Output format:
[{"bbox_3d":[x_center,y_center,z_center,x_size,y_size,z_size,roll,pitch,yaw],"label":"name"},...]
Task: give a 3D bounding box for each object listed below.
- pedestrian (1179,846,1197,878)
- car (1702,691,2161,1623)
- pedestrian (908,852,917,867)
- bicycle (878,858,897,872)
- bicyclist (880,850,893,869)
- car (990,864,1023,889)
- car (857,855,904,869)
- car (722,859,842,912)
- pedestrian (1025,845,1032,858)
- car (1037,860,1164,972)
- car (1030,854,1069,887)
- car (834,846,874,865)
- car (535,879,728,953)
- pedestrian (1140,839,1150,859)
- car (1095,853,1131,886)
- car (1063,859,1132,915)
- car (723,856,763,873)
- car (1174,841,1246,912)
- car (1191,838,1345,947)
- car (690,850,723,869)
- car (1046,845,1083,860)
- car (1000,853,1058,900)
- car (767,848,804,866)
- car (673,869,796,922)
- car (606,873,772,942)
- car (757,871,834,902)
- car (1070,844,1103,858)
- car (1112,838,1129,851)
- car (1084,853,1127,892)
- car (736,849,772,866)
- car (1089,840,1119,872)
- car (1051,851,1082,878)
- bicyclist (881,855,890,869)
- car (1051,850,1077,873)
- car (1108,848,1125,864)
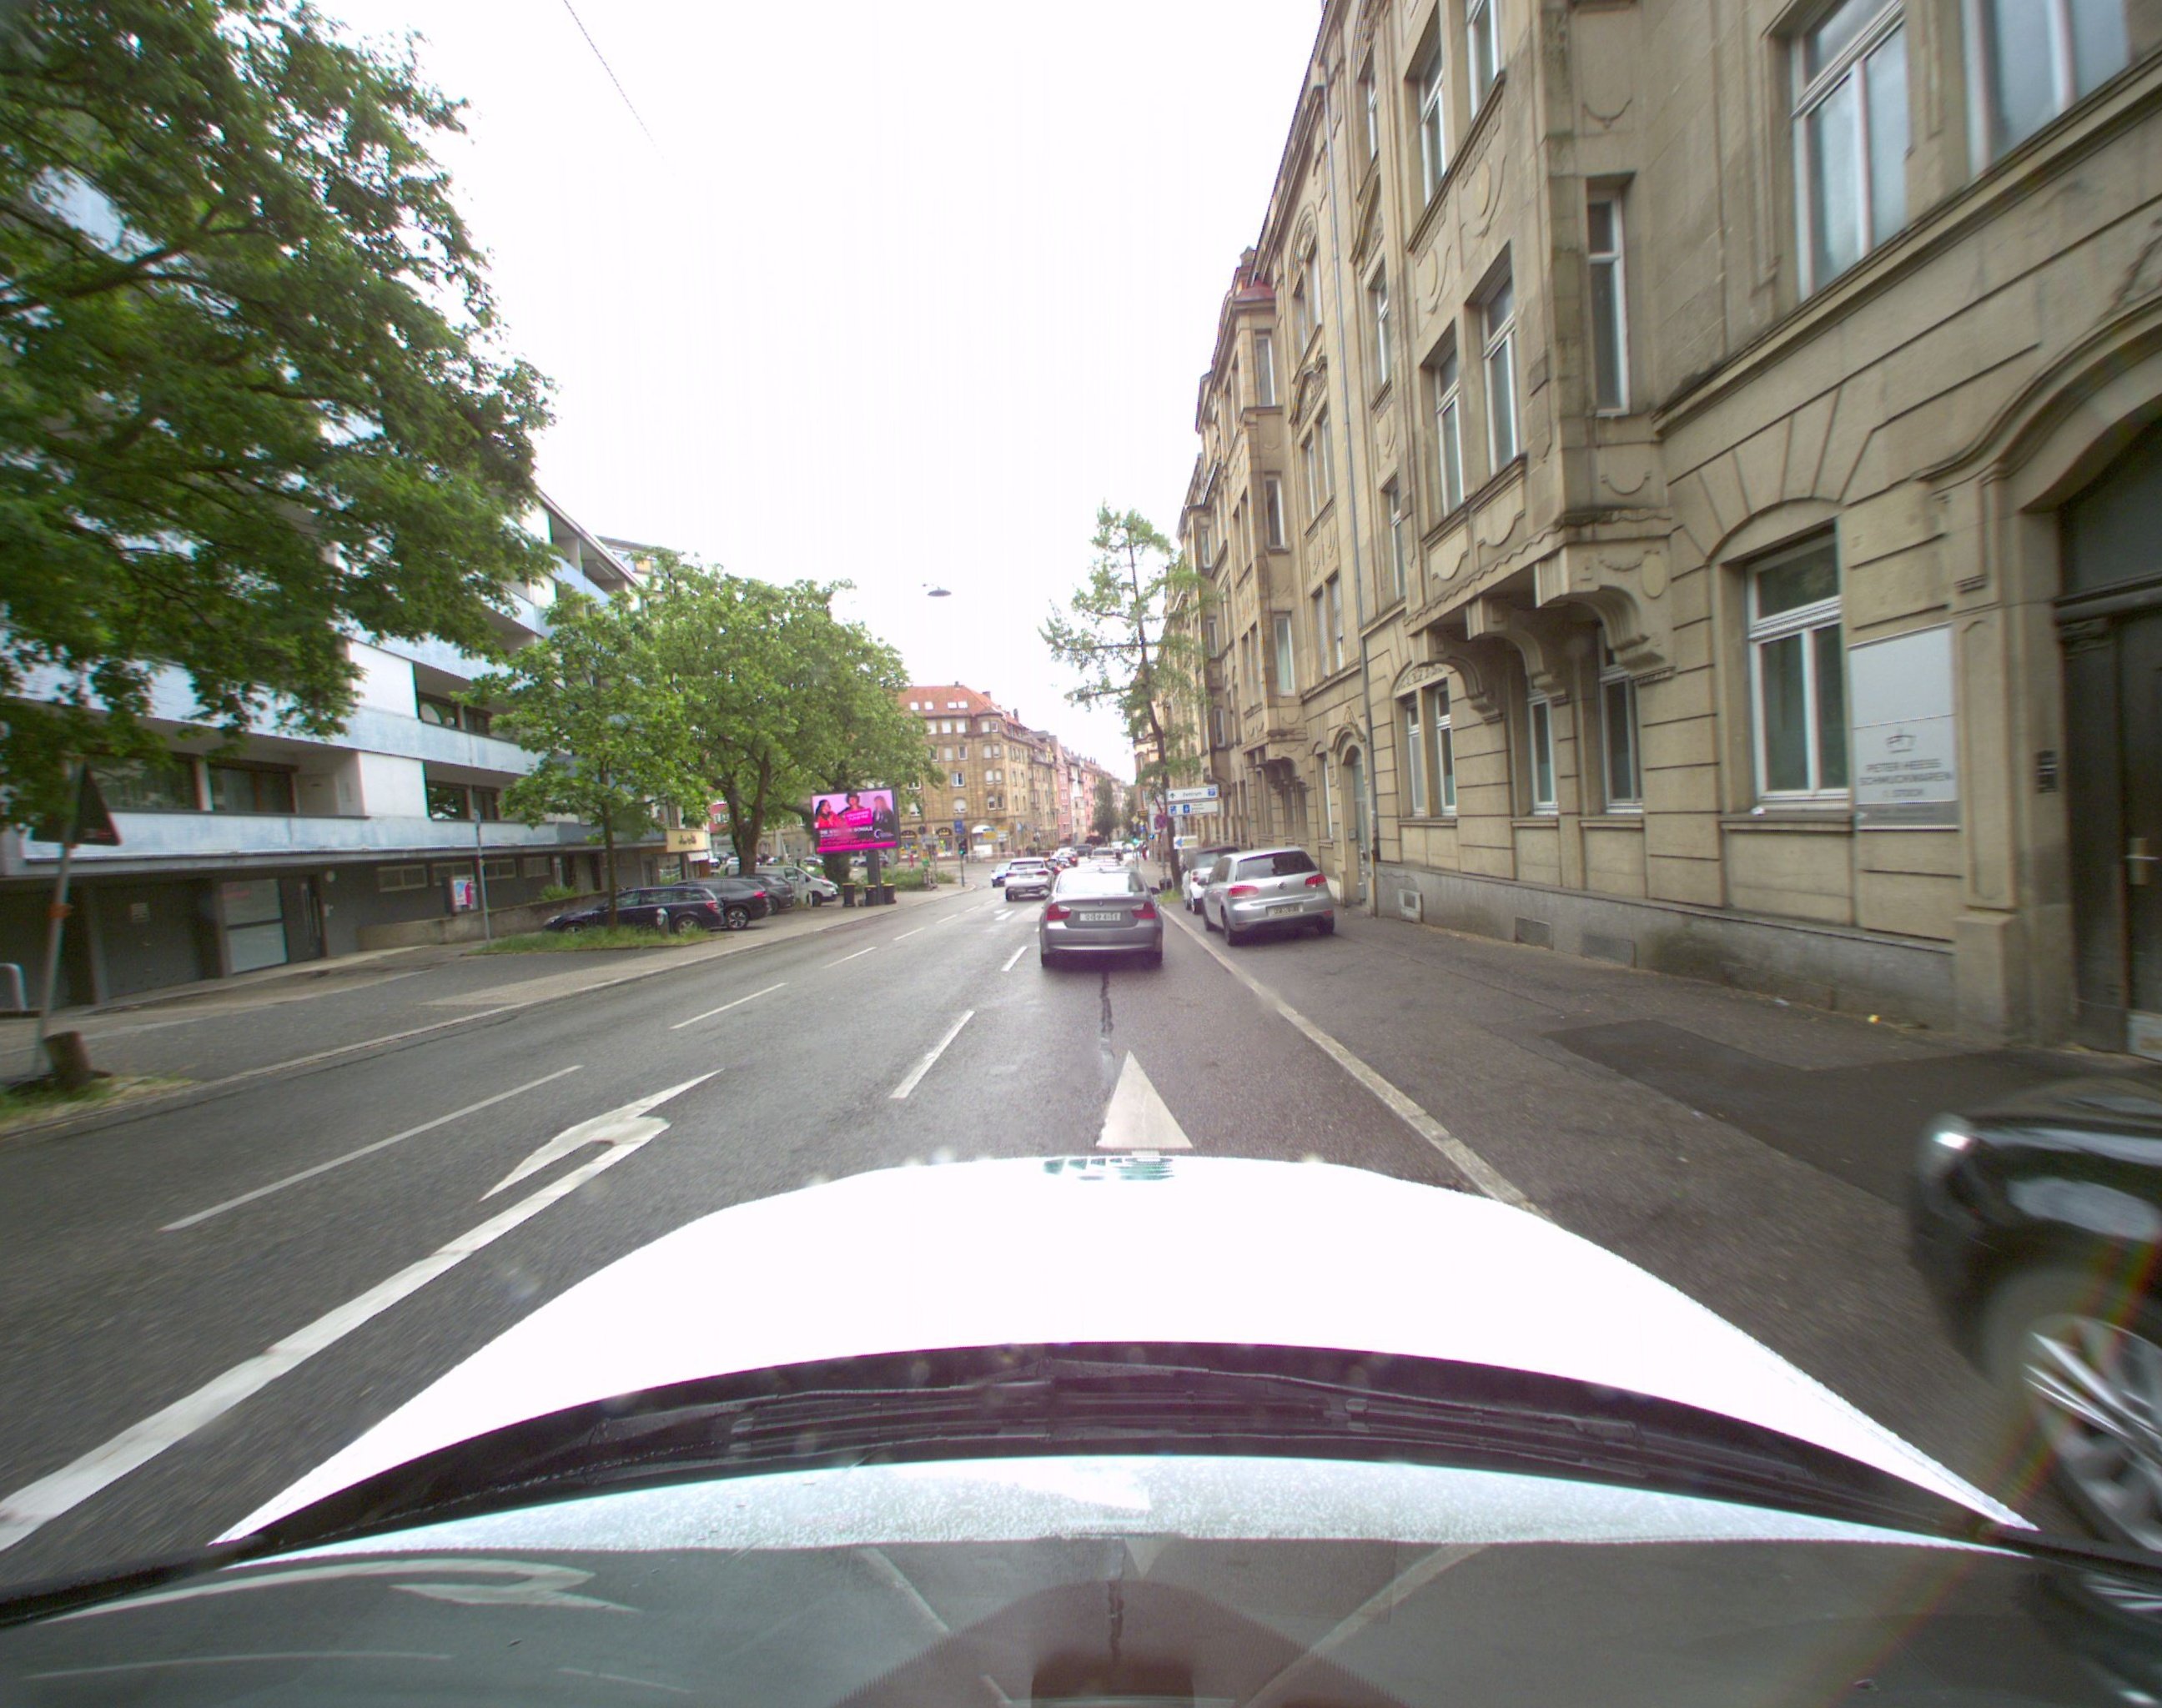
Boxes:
[{"bbox_3d":[5.306,0.405,40.502,0.629,1.508,0.693,-7,-1,1],"label":"pedestrian"},{"bbox_3d":[2.646,0.444,0.230,1.753,1.651,4.101,-8,0,2],"label":"car"},{"bbox_3d":[-17.776,0.561,85.863,0.531,1.577,0.724,-4,-1,26],"label":"pedestrian"},{"bbox_3d":[-18.853,1.067,79.391,0.666,1.320,2.286,-5,0,18],"label":"bicycle"},{"bbox_3d":[-18.934,0.545,79.161,0.776,1.821,0.774,-5,0,17],"label":"bicyclist"},{"bbox_3d":[-4.966,1.485,54.499,1.709,1.450,3.743,-3,0,1],"label":"car"},{"bbox_3d":[-22.375,0.899,90.857,4.619,1.578,2.002,-1,-1,3],"label":"car"},{"bbox_3d":[-13.924,1.448,38.145,5.076,2.105,1.979,-3,-1,-19],"label":"car"},{"bbox_3d":[-6.424,-0.276,99.273,0.727,1.577,0.530,-3,0,10],"label":"pedestrian"},{"bbox_3d":[0.352,0.822,12.497,1.617,1.383,3.618,-2,0,3],"label":"car"},{"bbox_3d":[-1.711,0.865,45.716,1.752,1.707,4.003,-2,0,3],"label":"car"},{"bbox_3d":[-26.639,0.200,95.487,4.237,2.101,2.013,0,2,30],"label":"car"},{"bbox_3d":[-12.300,1.641,22.665,4.373,1.574,1.929,-4,0,-21],"label":"car"},{"bbox_3d":[6.100,-0.482,77.752,0.740,1.910,0.659,-3,0,1],"label":"pedestrian"},{"bbox_3d":[1.625,0.774,42.529,1.753,1.567,4.001,-2,0,1],"label":"car"},{"bbox_3d":[0.541,0.882,23.457,1.752,1.383,4.003,-2,0,3],"label":"car"},{"bbox_3d":[-38.072,1.160,91.730,4.195,1.726,2.013,-2,2,31],"label":"car"},{"bbox_3d":[3.255,0.539,20.970,1.295,1.543,2.977,-8,0,1],"label":"car"},{"bbox_3d":[3.129,0.592,14.487,1.753,1.451,4.001,-8,0,1],"label":"car"},{"bbox_3d":[-44.078,0.674,95.920,3.948,2.013,1.587,-2,0,33],"label":"car"},{"bbox_3d":[-1.755,-0.155,86.987,1.974,1.578,4.025,-1,-1,34],"label":"car"},{"bbox_3d":[-2.019,0.859,32.901,1.861,1.625,4.001,-4,0,1],"label":"car"},{"bbox_3d":[-36.776,0.388,101.344,4.237,2.101,2.013,0,2,30],"label":"car"},{"bbox_3d":[-13.845,1.616,32.815,4.370,1.784,1.927,-3,-1,-19],"label":"car"},{"bbox_3d":[-12.007,1.604,25.309,4.382,1.672,1.842,-4,0,-21],"label":"car"},{"bbox_3d":[-15.997,1.817,45.739,3.985,1.450,1.757,-3,-1,-19],"label":"car"},{"bbox_3d":[0.878,-0.450,128.583,5.158,2.014,2.699,-1,-1,1],"label":"car"},{"bbox_3d":[5.497,-1.278,112.313,1.983,1.578,4.008,-1,-1,7],"label":"car"},{"bbox_3d":[1.050,0.727,33.413,1.588,1.464,4.003,-2,0,3],"label":"car"},{"bbox_3d":[-41.614,0.473,103.759,4.237,2.101,2.013,0,2,30],"label":"car"},{"bbox_3d":[1.603,0.162,56.791,1.986,2.106,4.001,-2,-1,2],"label":"car"},{"bbox_3d":[-0.951,0.693,55.646,1.752,1.707,4.003,-2,0,3],"label":"car"},{"bbox_3d":[-18.992,0.775,79.193,0.564,1.273,0.693,-1,-1,22],"label":"bicyclist"},{"bbox_3d":[-1.358,0.597,66.486,1.752,1.707,4.003,-2,0,3],"label":"car"},{"bbox_3d":[3.743,0.232,85.306,1.718,1.552,4.004,-1,-1,4],"label":"car"}]
